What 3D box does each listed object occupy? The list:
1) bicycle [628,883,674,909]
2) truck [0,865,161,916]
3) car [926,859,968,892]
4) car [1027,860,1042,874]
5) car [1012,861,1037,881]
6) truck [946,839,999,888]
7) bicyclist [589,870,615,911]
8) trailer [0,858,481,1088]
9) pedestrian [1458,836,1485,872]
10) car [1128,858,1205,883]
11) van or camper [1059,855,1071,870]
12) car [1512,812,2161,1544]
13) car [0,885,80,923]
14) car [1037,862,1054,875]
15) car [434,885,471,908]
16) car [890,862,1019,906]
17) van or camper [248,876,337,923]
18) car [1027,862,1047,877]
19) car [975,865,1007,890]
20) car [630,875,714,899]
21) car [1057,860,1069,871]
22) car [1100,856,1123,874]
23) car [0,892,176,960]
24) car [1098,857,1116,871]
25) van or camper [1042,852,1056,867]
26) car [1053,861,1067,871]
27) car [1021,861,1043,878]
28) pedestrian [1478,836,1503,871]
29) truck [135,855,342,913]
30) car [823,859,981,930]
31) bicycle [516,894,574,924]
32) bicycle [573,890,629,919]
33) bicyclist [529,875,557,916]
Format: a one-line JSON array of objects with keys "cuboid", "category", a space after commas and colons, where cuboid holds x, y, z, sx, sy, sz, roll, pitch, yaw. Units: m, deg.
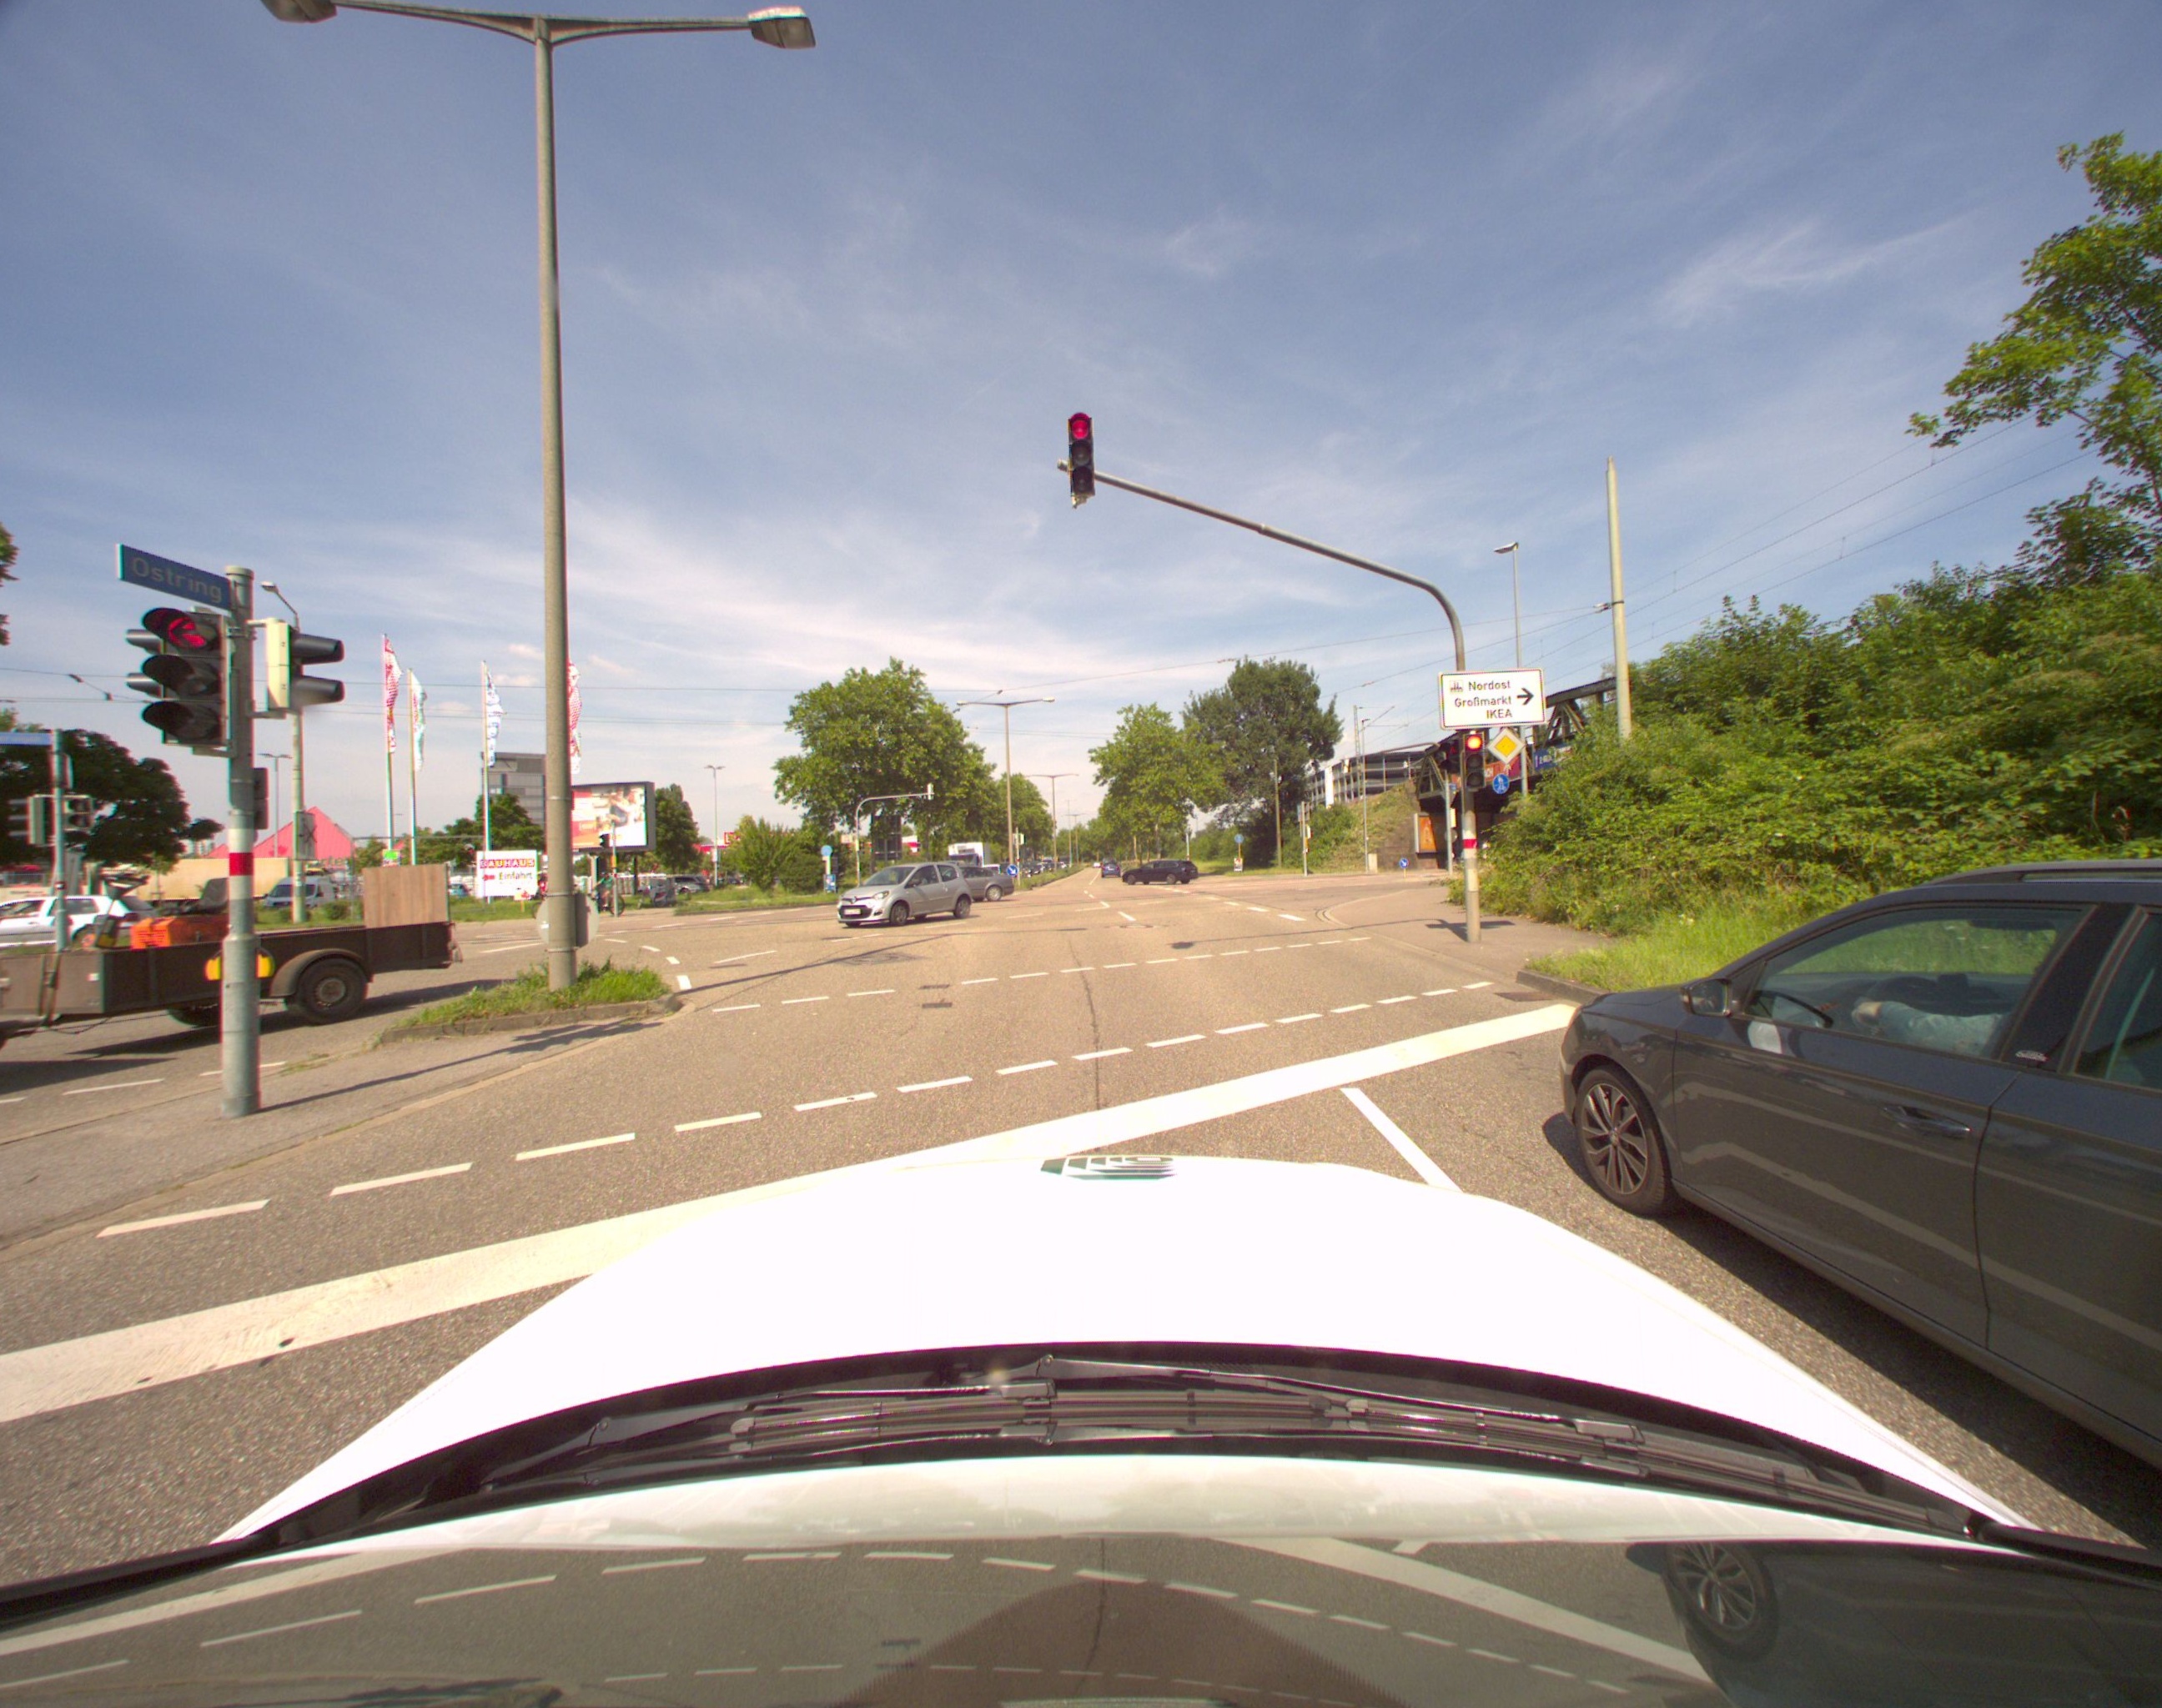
[{"cuboid": [-18.773, 1.834, 35.578, 0.590, 1.037, 1.903, -2, -1, 16], "category": "bicycle"}, {"cuboid": [-64.893, 2.298, 50.693, 9.655, 2.892, 2.895, -2, -1, -35], "category": "truck"}, {"cuboid": [-8.767, 1.374, 53.676, 1.970, 1.999, 5.030, -2, 0, -1], "category": "car"}, {"cuboid": [-6.764, 1.907, 119.250, 1.682, 1.858, 4.038, -3, -1, 2], "category": "car"}, {"cuboid": [-4.955, 1.460, 72.233, 1.682, 1.586, 4.242, -3, 0, 2], "category": "car"}, {"cuboid": [-8.409, 0.682, 63.927, 2.793, 3.471, 6.693, -4, 0, 2], "category": "truck"}, {"cuboid": [-17.849, 1.361, 30.371, 0.523, 1.491, 0.612, -2, -1, 17], "category": "bicyclist"}, {"cuboid": [-8.848, 0.950, 8.297, 2.048, 1.715, 4.004, -2, 0, 12], "category": "trailer"}, {"cuboid": [18.119, -0.004, 37.814, 0.865, 1.611, 0.778, -2, -1, 1], "category": "pedestrian"}, {"cuboid": [5.116, 0.993, 49.089, 4.209, 1.391, 1.852, -2, 0, 35], "category": "car"}, {"cuboid": [-2.738, 1.471, 140.983, 1.932, 2.368, 5.397, -3, -1, 0], "category": "van or camper"}, {"cuboid": [2.985, 0.635, 2.119, 1.668, 1.453, 4.037, -1, 0, 1], "category": "car"}, {"cuboid": [-77.028, 3.654, 59.841, 2.396, 2.529, 6.066, -2, -1, -31], "category": "car"}, {"cuboid": [-4.242, 1.707, 97.838, 1.778, 1.489, 4.211, -3, 0, 1], "category": "car"}, {"cuboid": [-45.840, 3.063, 59.485, 1.829, 1.572, 4.234, -2, -1, -34], "category": "car"}, {"cuboid": [-4.720, 1.099, 30.636, 4.478, 1.411, 1.623, -2, 0, -32], "category": "car"}, {"cuboid": [-41.032, 2.294, 42.519, 2.204, 2.210, 5.462, -2, -1, -32], "category": "van or camper"}, {"cuboid": [-4.572, 1.605, 85.142, 1.682, 1.472, 3.816, -3, 0, 2], "category": "car"}, {"cuboid": [-5.970, 1.526, 54.370, 1.587, 1.477, 3.731, -3, 0, 2], "category": "car"}, {"cuboid": [-27.771, 2.218, 55.458, 4.556, 1.414, 2.196, -2, -1, -6], "category": "car"}, {"cuboid": [-2.851, 1.856, 132.219, 1.682, 1.510, 3.816, -3, 0, 2], "category": "car"}, {"cuboid": [2.719, 0.985, 73.447, 1.986, 1.519, 4.001, -2, 0, 2], "category": "car"}, {"cuboid": [-25.451, 1.772, 20.071, 3.875, 1.427, 1.682, -2, -1, -33], "category": "car"}, {"cuboid": [3.010, 1.154, 94.392, 1.986, 1.519, 4.001, -2, 0, 2], "category": "car"}, {"cuboid": [-5.852, 1.002, 148.240, 2.007, 2.587, 5.519, -3, 0, 2], "category": "van or camper"}, {"cuboid": [-3.180, 1.843, 125.460, 1.777, 1.459, 4.473, -3, 0, 2], "category": "car"}, {"cuboid": [-4.774, 1.535, 79.507, 1.682, 1.473, 4.220, -4, 0, 2], "category": "car"}, {"cuboid": [18.991, -0.025, 37.811, 0.726, 1.579, 0.778, -2, -1, 1], "category": "pedestrian"}, {"cuboid": [-55.064, 1.871, 53.693, 8.964, 3.311, 3.125, -2, -1, -36], "category": "truck"}, {"cuboid": [-4.305, 0.929, 20.071, 1.633, 1.514, 3.759, -2, 0, 30], "category": "car"}, {"cuboid": [-19.172, 1.947, 29.143, 0.430, 0.937, 1.761, -2, -1, 24], "category": "bicycle"}, {"cuboid": [-17.850, 1.869, 30.319, 0.412, 0.937, 2.007, -2, -1, 18], "category": "bicycle"}, {"cuboid": [-19.241, 1.487, 29.134, 0.523, 1.414, 0.613, -2, -1, 24], "category": "bicyclist"}]
